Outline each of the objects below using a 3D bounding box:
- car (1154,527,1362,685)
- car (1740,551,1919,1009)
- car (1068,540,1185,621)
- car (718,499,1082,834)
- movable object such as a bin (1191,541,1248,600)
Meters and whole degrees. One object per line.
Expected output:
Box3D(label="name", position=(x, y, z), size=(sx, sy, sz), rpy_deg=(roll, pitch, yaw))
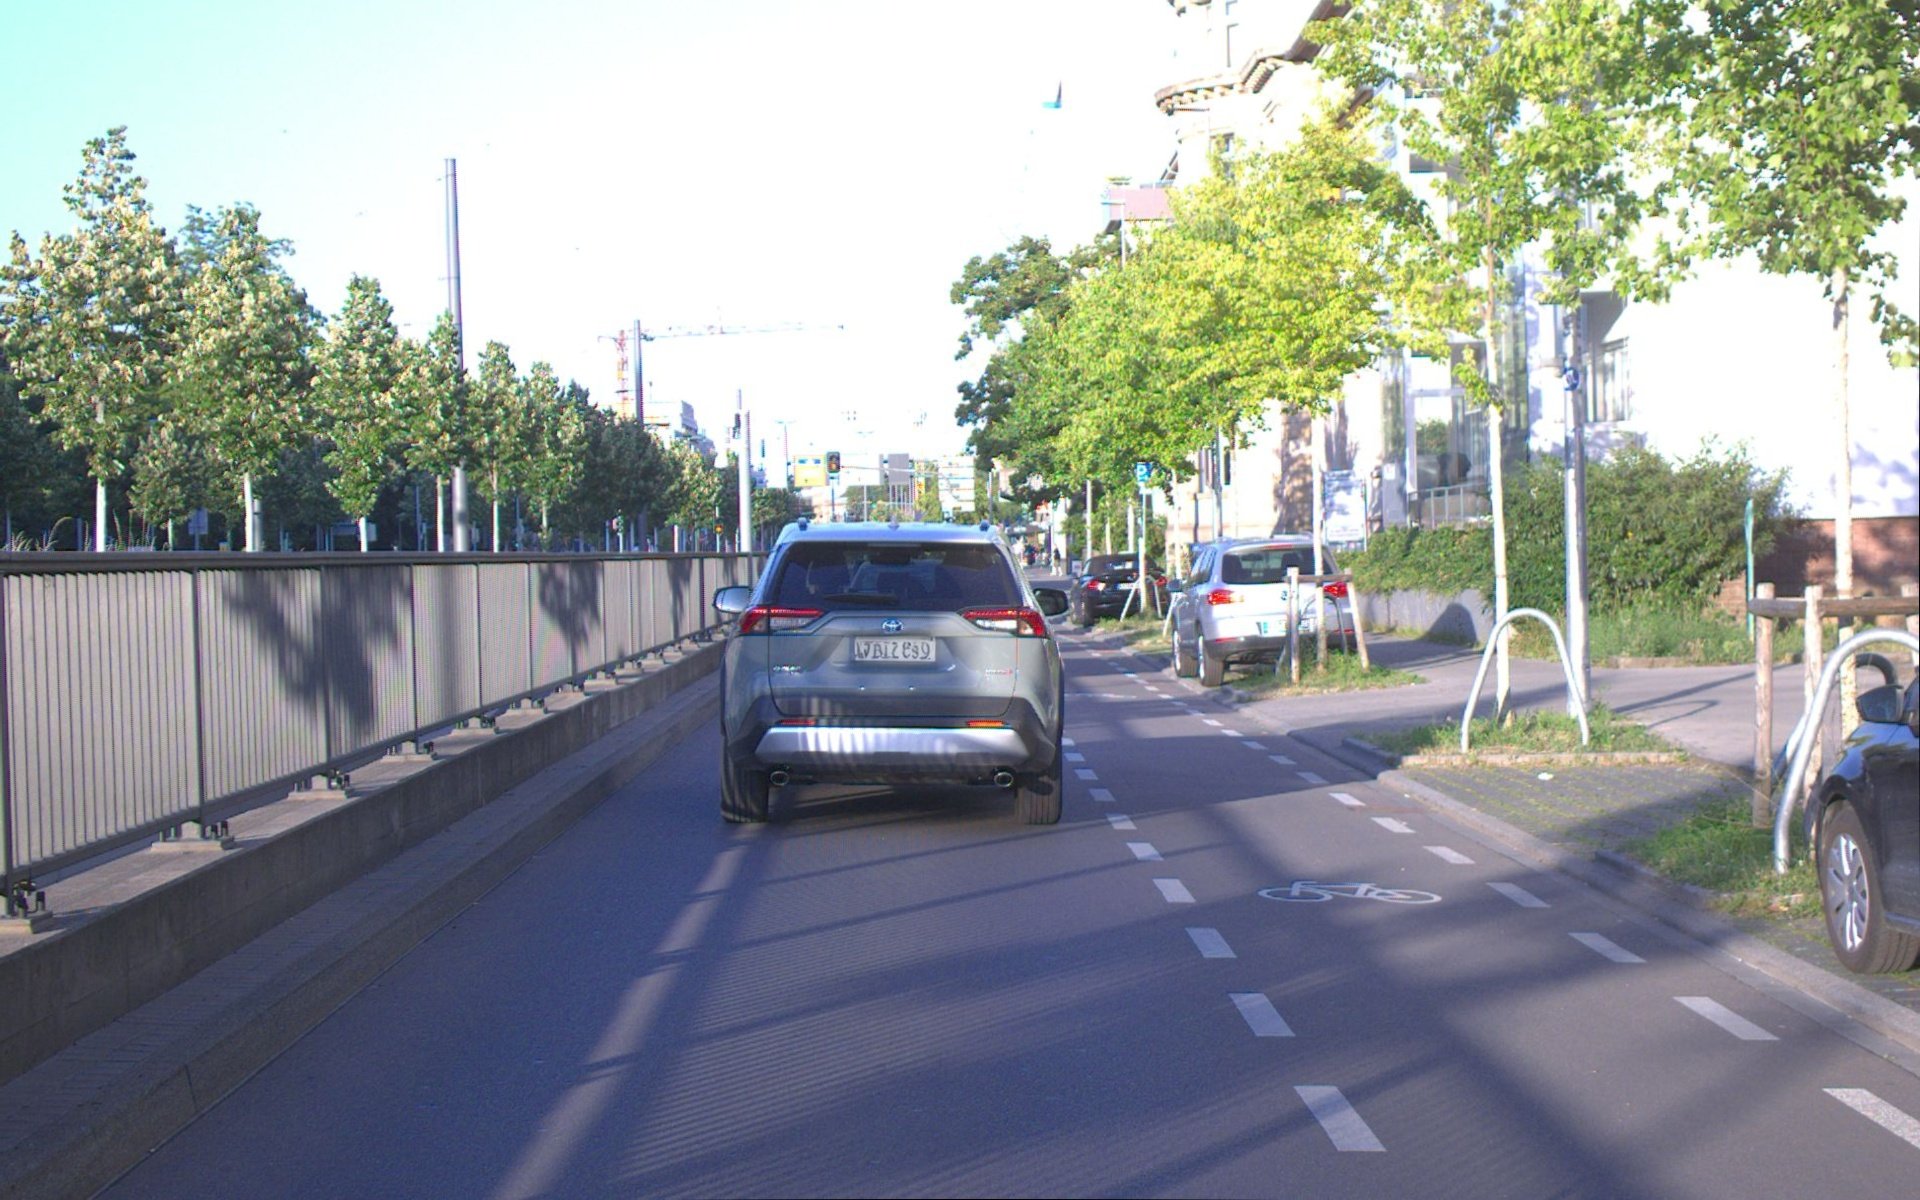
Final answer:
Box3D(label="car", position=(3.412, 0.027, 40.058), size=(1.854, 1.701, 4.255), rpy_deg=(-1, 1, -2))
Box3D(label="car", position=(3.967, 0.556, 10.966), size=(1.819, 1.449, 4.129), rpy_deg=(-2, 1, -2))
Box3D(label="car", position=(3.324, -0.407, 69.403), size=(1.792, 1.466, 4.446), rpy_deg=(-4, 1, -3))
Box3D(label="car", position=(-0.398, 0.321, 19.843), size=(1.857, 1.708, 4.193), rpy_deg=(1, 1, -2))
Box3D(label="movable object such as a bin", position=(6.444, -0.739, 85.354), size=(1.260, 1.457, 1.124), rpy_deg=(-1, 1, -4))
